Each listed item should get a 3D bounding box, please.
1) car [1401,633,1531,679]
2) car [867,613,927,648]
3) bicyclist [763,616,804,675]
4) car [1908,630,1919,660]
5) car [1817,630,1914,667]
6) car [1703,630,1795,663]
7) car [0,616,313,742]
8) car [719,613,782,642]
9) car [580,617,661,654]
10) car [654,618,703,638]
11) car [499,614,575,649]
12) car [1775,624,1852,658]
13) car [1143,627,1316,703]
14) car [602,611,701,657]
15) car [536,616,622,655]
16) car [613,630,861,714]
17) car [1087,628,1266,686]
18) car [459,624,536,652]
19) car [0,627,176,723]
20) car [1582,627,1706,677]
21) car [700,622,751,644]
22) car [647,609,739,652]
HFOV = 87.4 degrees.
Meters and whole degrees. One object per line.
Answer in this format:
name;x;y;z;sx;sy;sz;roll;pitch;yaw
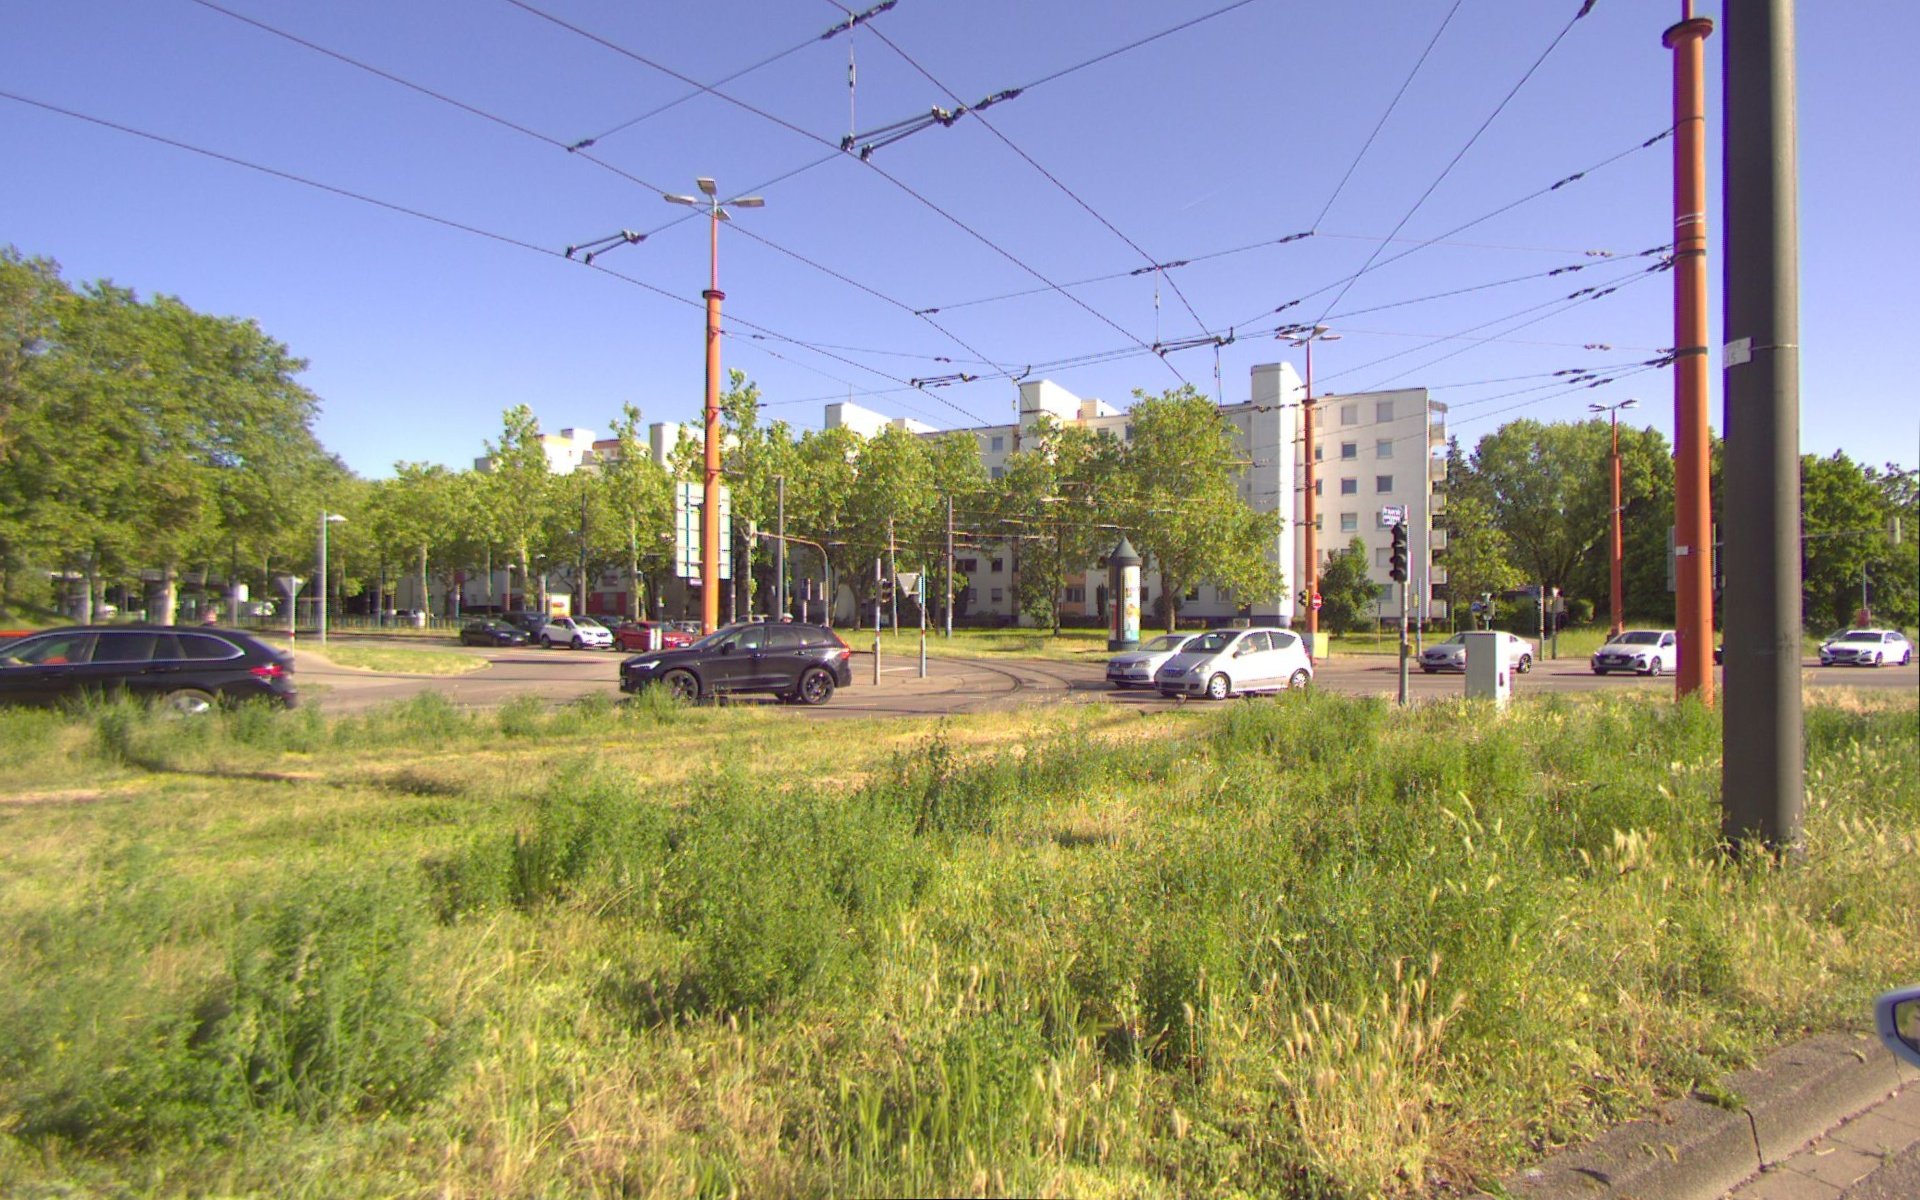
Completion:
car;17.102;1.851;33.906;4.351;1.392;1.983;2;-1;-32
car;-4.474;2.151;71.293;3.935;2.341;1.889;1;0;-17
bicyclist;-4.455;1.131;25.362;0.742;1.449;0.752;1;0;16
car;56.792;2.622;58.084;4.012;1.730;1.792;2;-2;-30
car;37.240;1.968;41.296;4.589;1.441;1.695;2;-2;-31
car;33.908;1.980;43.147;3.985;1.359;1.852;2;-2;-31
car;-11.337;0.958;12.882;4.929;1.428;1.985;2;-1;-29
car;-15.354;1.977;73.604;4.330;2.040;1.996;0;-1;31
car;-17.839;1.835;52.788;3.928;1.773;1.909;1;0;30
car;-23.868;2.380;85.129;3.935;1.617;1.889;1;0;-17
car;-23.514;1.735;55.828;3.928;1.773;1.909;1;0;30
car;43.305;2.063;50.944;3.955;1.597;1.866;2;0;-32
car;6.204;1.453;23.106;3.713;1.629;1.755;2;-2;-30
car;-14.264;1.535;46.423;4.198;1.926;1.997;1;0;30
car;-18.938;1.723;49.873;3.928;1.773;1.909;1;0;30
car;-4.514;1.406;20.517;4.576;1.500;1.984;2;0;-30
car;5.846;1.494;26.974;4.640;1.451;1.984;2;-2;-31
car;-24.658;2.000;53.519;3.928;1.339;1.733;1;0;30
car;-14.308;1.084;14.894;4.138;1.315;1.645;2;-1;-37
car;21.901;1.626;32.137;4.132;1.492;1.582;0;-2;-29
car;-19.046;2.671;81.531;3.935;1.617;1.889;1;0;-17
car;-13.183;1.471;49.557;4.198;1.926;1.997;1;0;30
